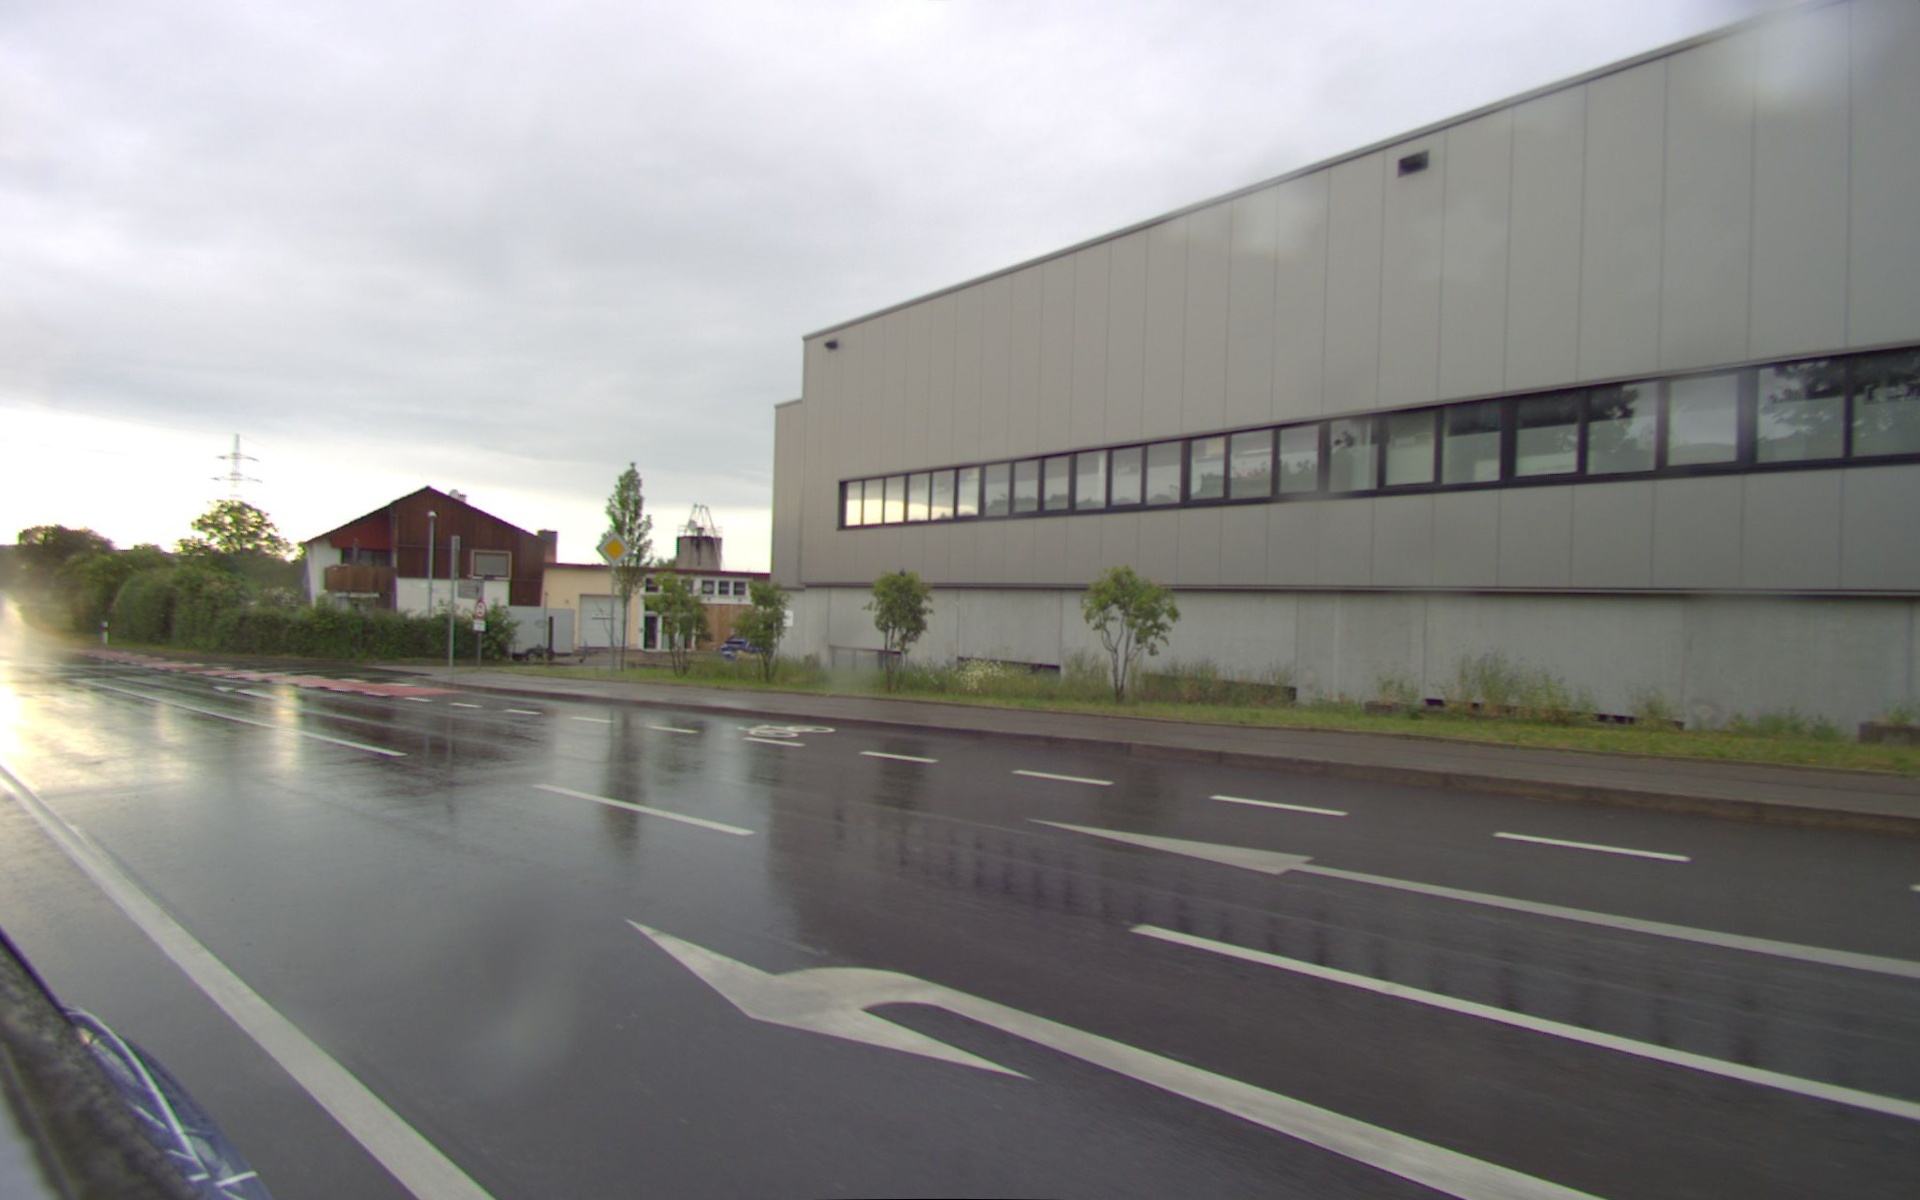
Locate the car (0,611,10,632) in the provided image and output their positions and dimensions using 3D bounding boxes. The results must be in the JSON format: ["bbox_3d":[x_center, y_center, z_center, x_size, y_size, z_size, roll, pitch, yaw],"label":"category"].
[{"bbox_3d":[-88.525,1.846,92.050,6.874,1.829,2.329,0,-4,41],"label":"car"}]

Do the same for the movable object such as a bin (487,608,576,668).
[{"bbox_3d":[-19.825,1.781,46.862,3.288,2.576,1.740,5,-5,-42],"label":"movable object such as a bin"}]

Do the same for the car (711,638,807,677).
[{"bbox_3d":[-9.095,2.666,46.223,1.949,1.622,4.404,0,-4,28],"label":"car"}]
